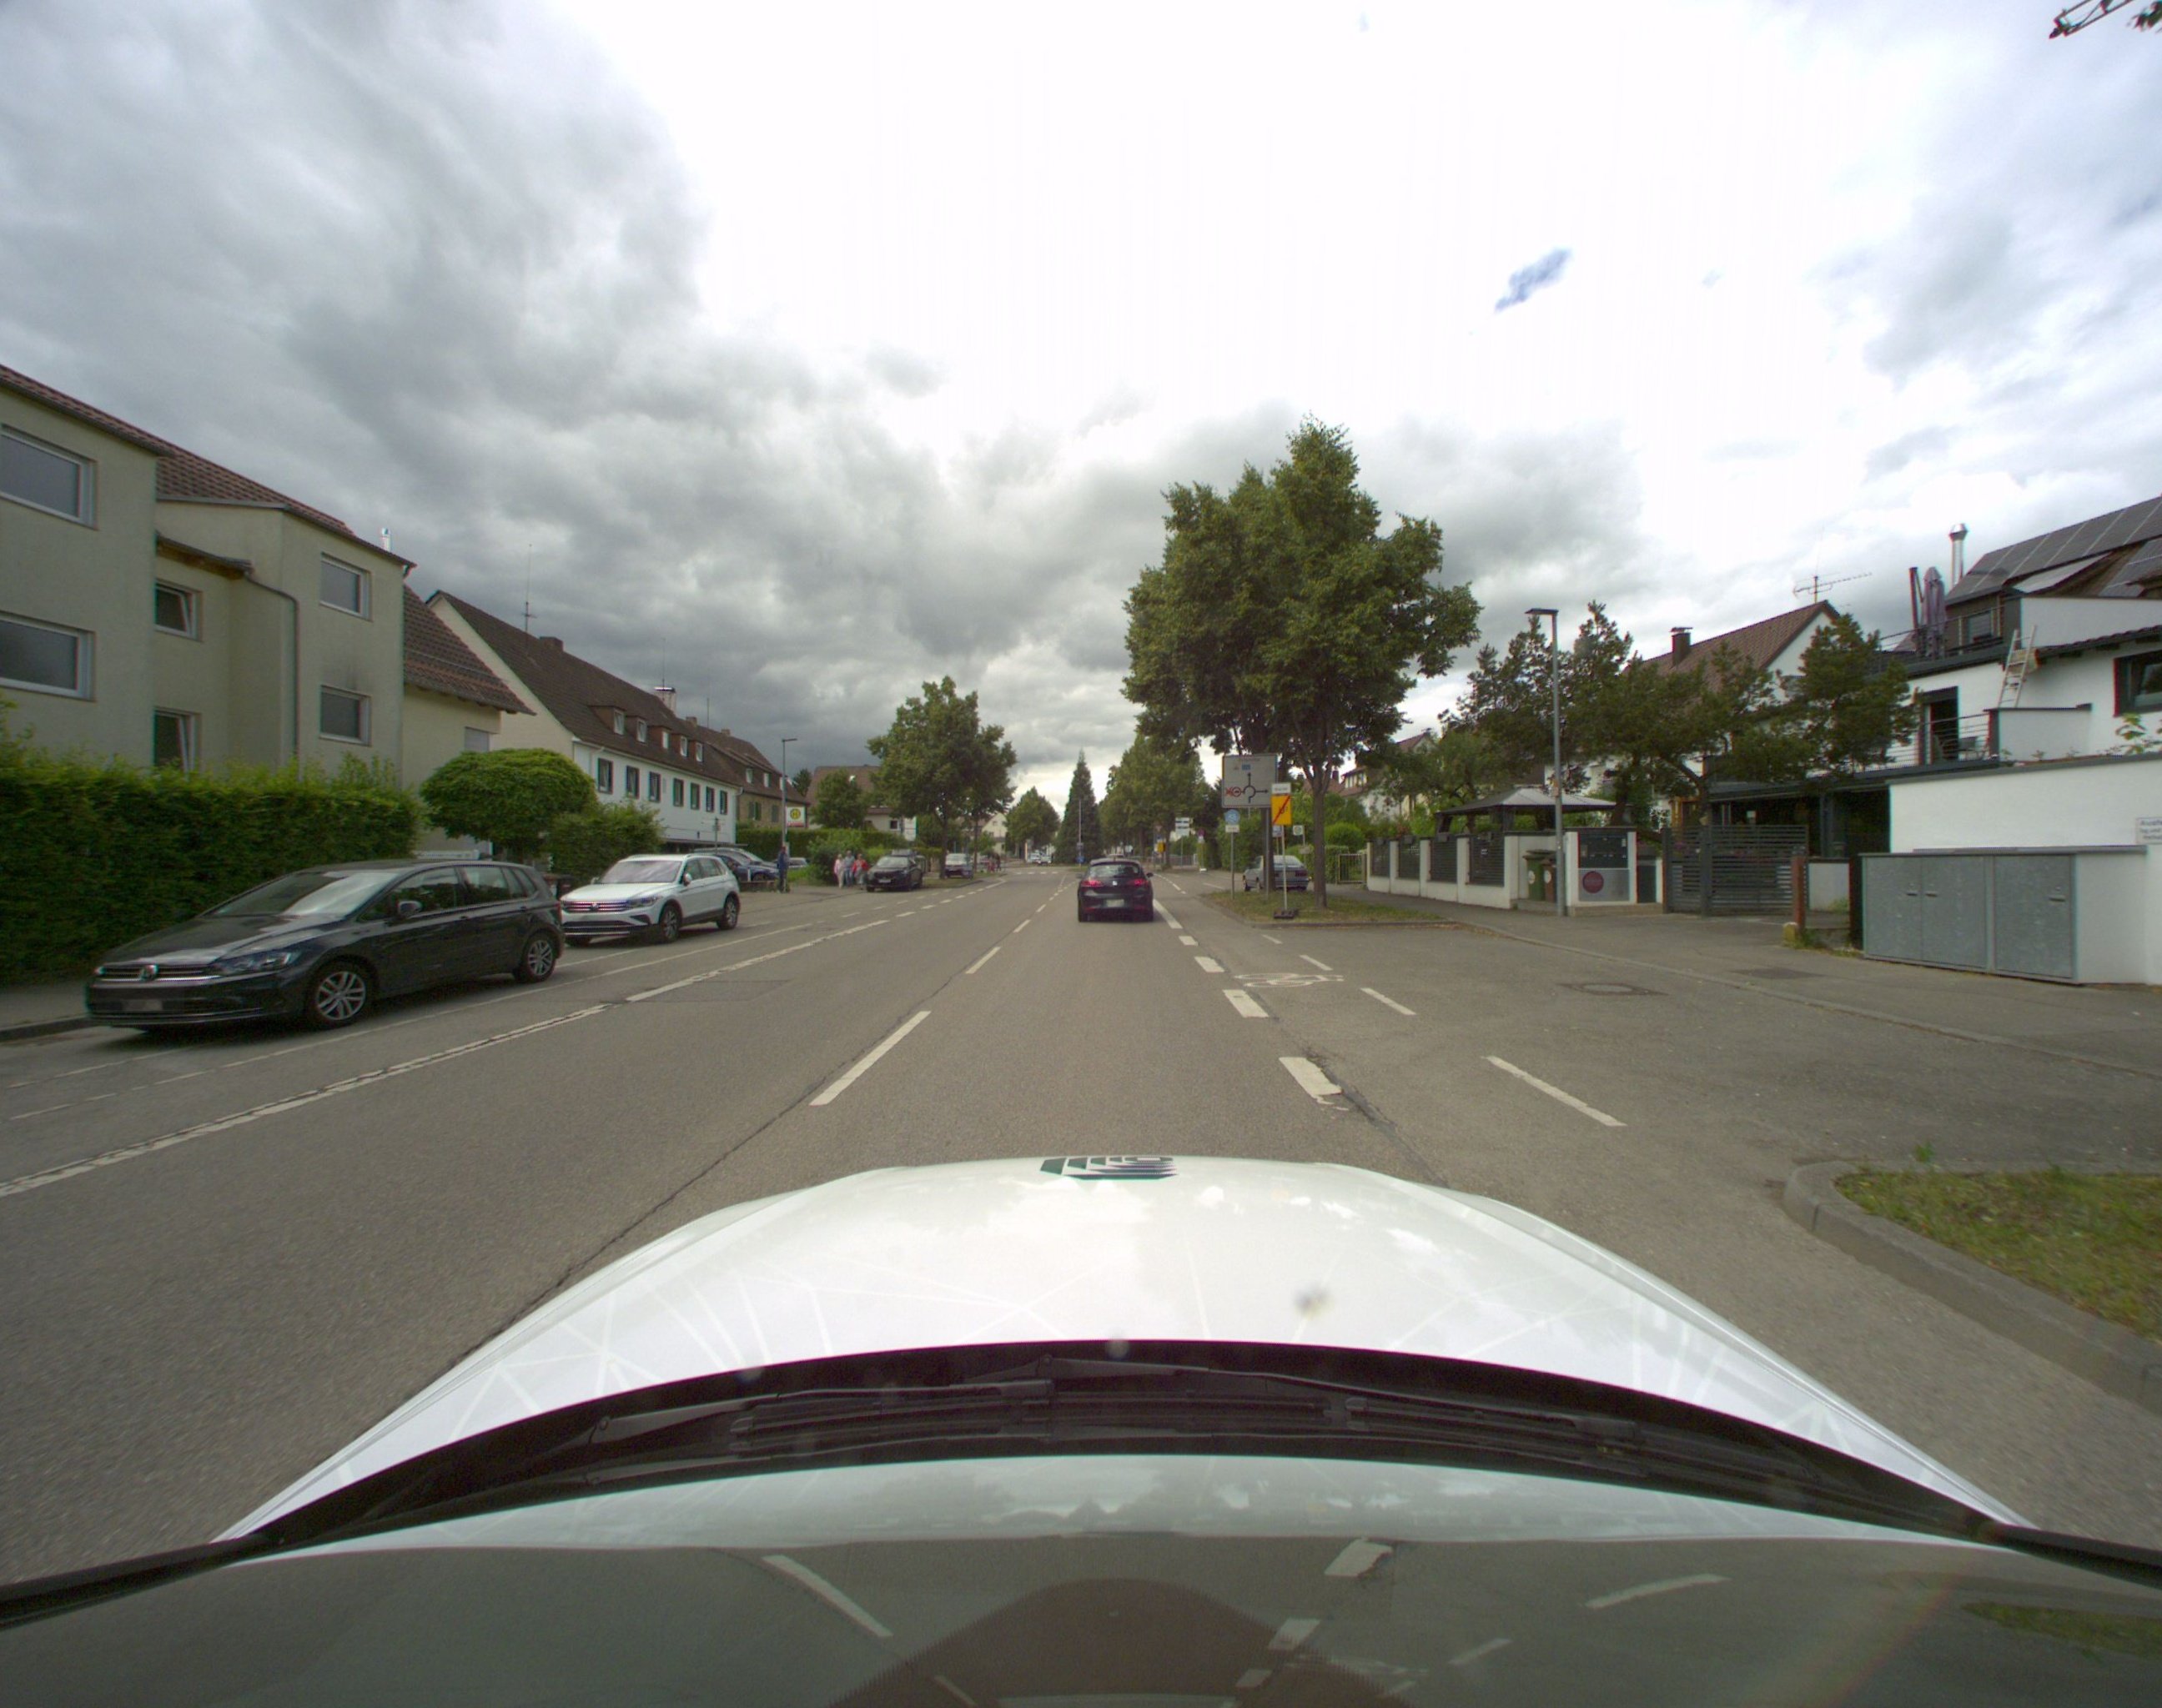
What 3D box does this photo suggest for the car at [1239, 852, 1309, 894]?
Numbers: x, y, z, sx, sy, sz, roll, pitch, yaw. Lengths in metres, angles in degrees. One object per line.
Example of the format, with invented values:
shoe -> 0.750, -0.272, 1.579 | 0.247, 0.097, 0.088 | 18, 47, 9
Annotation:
car -> 6.919, 0.683, 29.597 | 1.606, 1.377, 4.388 | -1, -1, 2

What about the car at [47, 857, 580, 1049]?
car -> -7.657, 0.827, 8.865 | 1.671, 1.552, 4.274 | -1, 0, 1

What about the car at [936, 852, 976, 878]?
car -> -8.237, 0.687, 54.113 | 1.853, 1.653, 4.296 | 0, 0, 2

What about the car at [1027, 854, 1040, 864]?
car -> -7.671, 0.743, 131.574 | 1.792, 1.601, 4.000 | -1, 0, 0

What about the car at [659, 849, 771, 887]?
car -> -15.778, 0.584, 35.246 | 3.981, 1.482, 1.788 | 2, 0, -5

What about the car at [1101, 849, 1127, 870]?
car -> 2.609, 0.439, 64.120 | 1.986, 1.613, 4.001 | 0, 0, 2

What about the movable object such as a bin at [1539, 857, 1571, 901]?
movable object such as a bin -> 10.043, 0.529, 17.270 | 0.434, 0.920, 0.396 | -1, 0, 2

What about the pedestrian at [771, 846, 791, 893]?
pedestrian -> -11.583, 0.597, 31.450 | 0.502, 1.806, 0.671 | -1, 0, 1

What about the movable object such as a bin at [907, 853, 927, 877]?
movable object such as a bin -> -11.760, 0.766, 58.455 | 1.202, 1.651, 0.997 | 2, -1, -1

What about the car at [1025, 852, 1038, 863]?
car -> -9.083, 0.672, 149.747 | 2.024, 1.970, 3.998 | -1, 0, -1

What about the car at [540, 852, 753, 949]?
car -> -8.344, 0.791, 16.201 | 1.815, 1.634, 4.584 | -1, 0, -1

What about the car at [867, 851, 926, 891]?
car -> -8.455, 0.747, 37.704 | 1.719, 1.725, 4.563 | 0, 0, 0

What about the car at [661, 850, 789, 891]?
car -> -14.400, 0.675, 33.243 | 4.521, 1.554, 2.025 | 1, -1, -16

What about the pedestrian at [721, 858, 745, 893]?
pedestrian -> -13.418, 0.810, 31.432 | 0.585, 1.313, 0.706 | -1, 0, 2

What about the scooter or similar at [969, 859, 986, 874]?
scooter or similar -> -8.478, 1.022, 66.587 | 1.292, 1.139, 0.344 | -1, 0, -31

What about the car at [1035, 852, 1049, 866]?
car -> -4.893, 0.638, 102.539 | 1.564, 1.634, 3.619 | -1, 0, -2

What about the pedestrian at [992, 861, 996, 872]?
pedestrian -> -7.303, 1.064, 68.208 | 0.239, 0.894, 0.257 | 0, -1, -25

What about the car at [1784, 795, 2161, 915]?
car -> 15.557, 0.012, 14.177 | 5.177, 1.903, 2.044 | 0, -1, -6

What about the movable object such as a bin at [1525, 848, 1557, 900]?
movable object such as a bin -> 10.054, 0.438, 17.802 | 0.434, 1.109, 0.455 | -1, 0, 2

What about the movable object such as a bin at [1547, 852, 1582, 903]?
movable object such as a bin -> 9.908, 0.470, 16.700 | 0.434, 1.022, 0.455 | -1, 0, 2

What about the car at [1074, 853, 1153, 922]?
car -> 0.853, 0.733, 19.850 | 1.724, 1.486, 4.004 | -1, 0, 4

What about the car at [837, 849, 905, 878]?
car -> -13.975, 0.626, 54.423 | 3.973, 1.891, 2.000 | -1, 0, 1

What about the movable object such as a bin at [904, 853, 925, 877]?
movable object such as a bin -> -11.612, 0.761, 56.774 | 1.202, 1.651, 0.997 | 2, -1, -1

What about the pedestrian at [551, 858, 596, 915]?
pedestrian -> -14.222, 0.897, 22.824 | 0.667, 1.560, 0.838 | -1, 0, 7

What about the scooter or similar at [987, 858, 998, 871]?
scooter or similar -> -7.555, 0.932, 69.728 | 0.409, 1.095, 0.958 | 2, -1, -41

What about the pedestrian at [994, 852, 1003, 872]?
pedestrian -> -7.003, 0.660, 69.148 | 0.509, 1.669, 0.486 | -1, 0, 43

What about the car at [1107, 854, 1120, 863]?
car -> 5.336, 0.684, 133.573 | 1.474, 1.489, 3.371 | -1, 0, -9

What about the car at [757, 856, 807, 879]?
car -> -19.700, 0.884, 53.701 | 2.820, 1.442, 1.297 | -1, 0, -4

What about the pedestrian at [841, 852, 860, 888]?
pedestrian -> -10.930, 0.759, 38.626 | 0.786, 1.663, 0.590 | -1, 0, -6

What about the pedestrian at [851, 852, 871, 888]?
pedestrian -> -10.178, 0.736, 37.649 | 0.786, 1.663, 0.753 | 0, 0, -6

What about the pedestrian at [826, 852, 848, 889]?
pedestrian -> -11.169, 0.728, 37.303 | 0.786, 1.663, 0.880 | -1, 0, -6

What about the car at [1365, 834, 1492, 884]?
car -> 13.157, 0.179, 30.993 | 3.975, 1.823, 1.999 | -1, 0, -1
